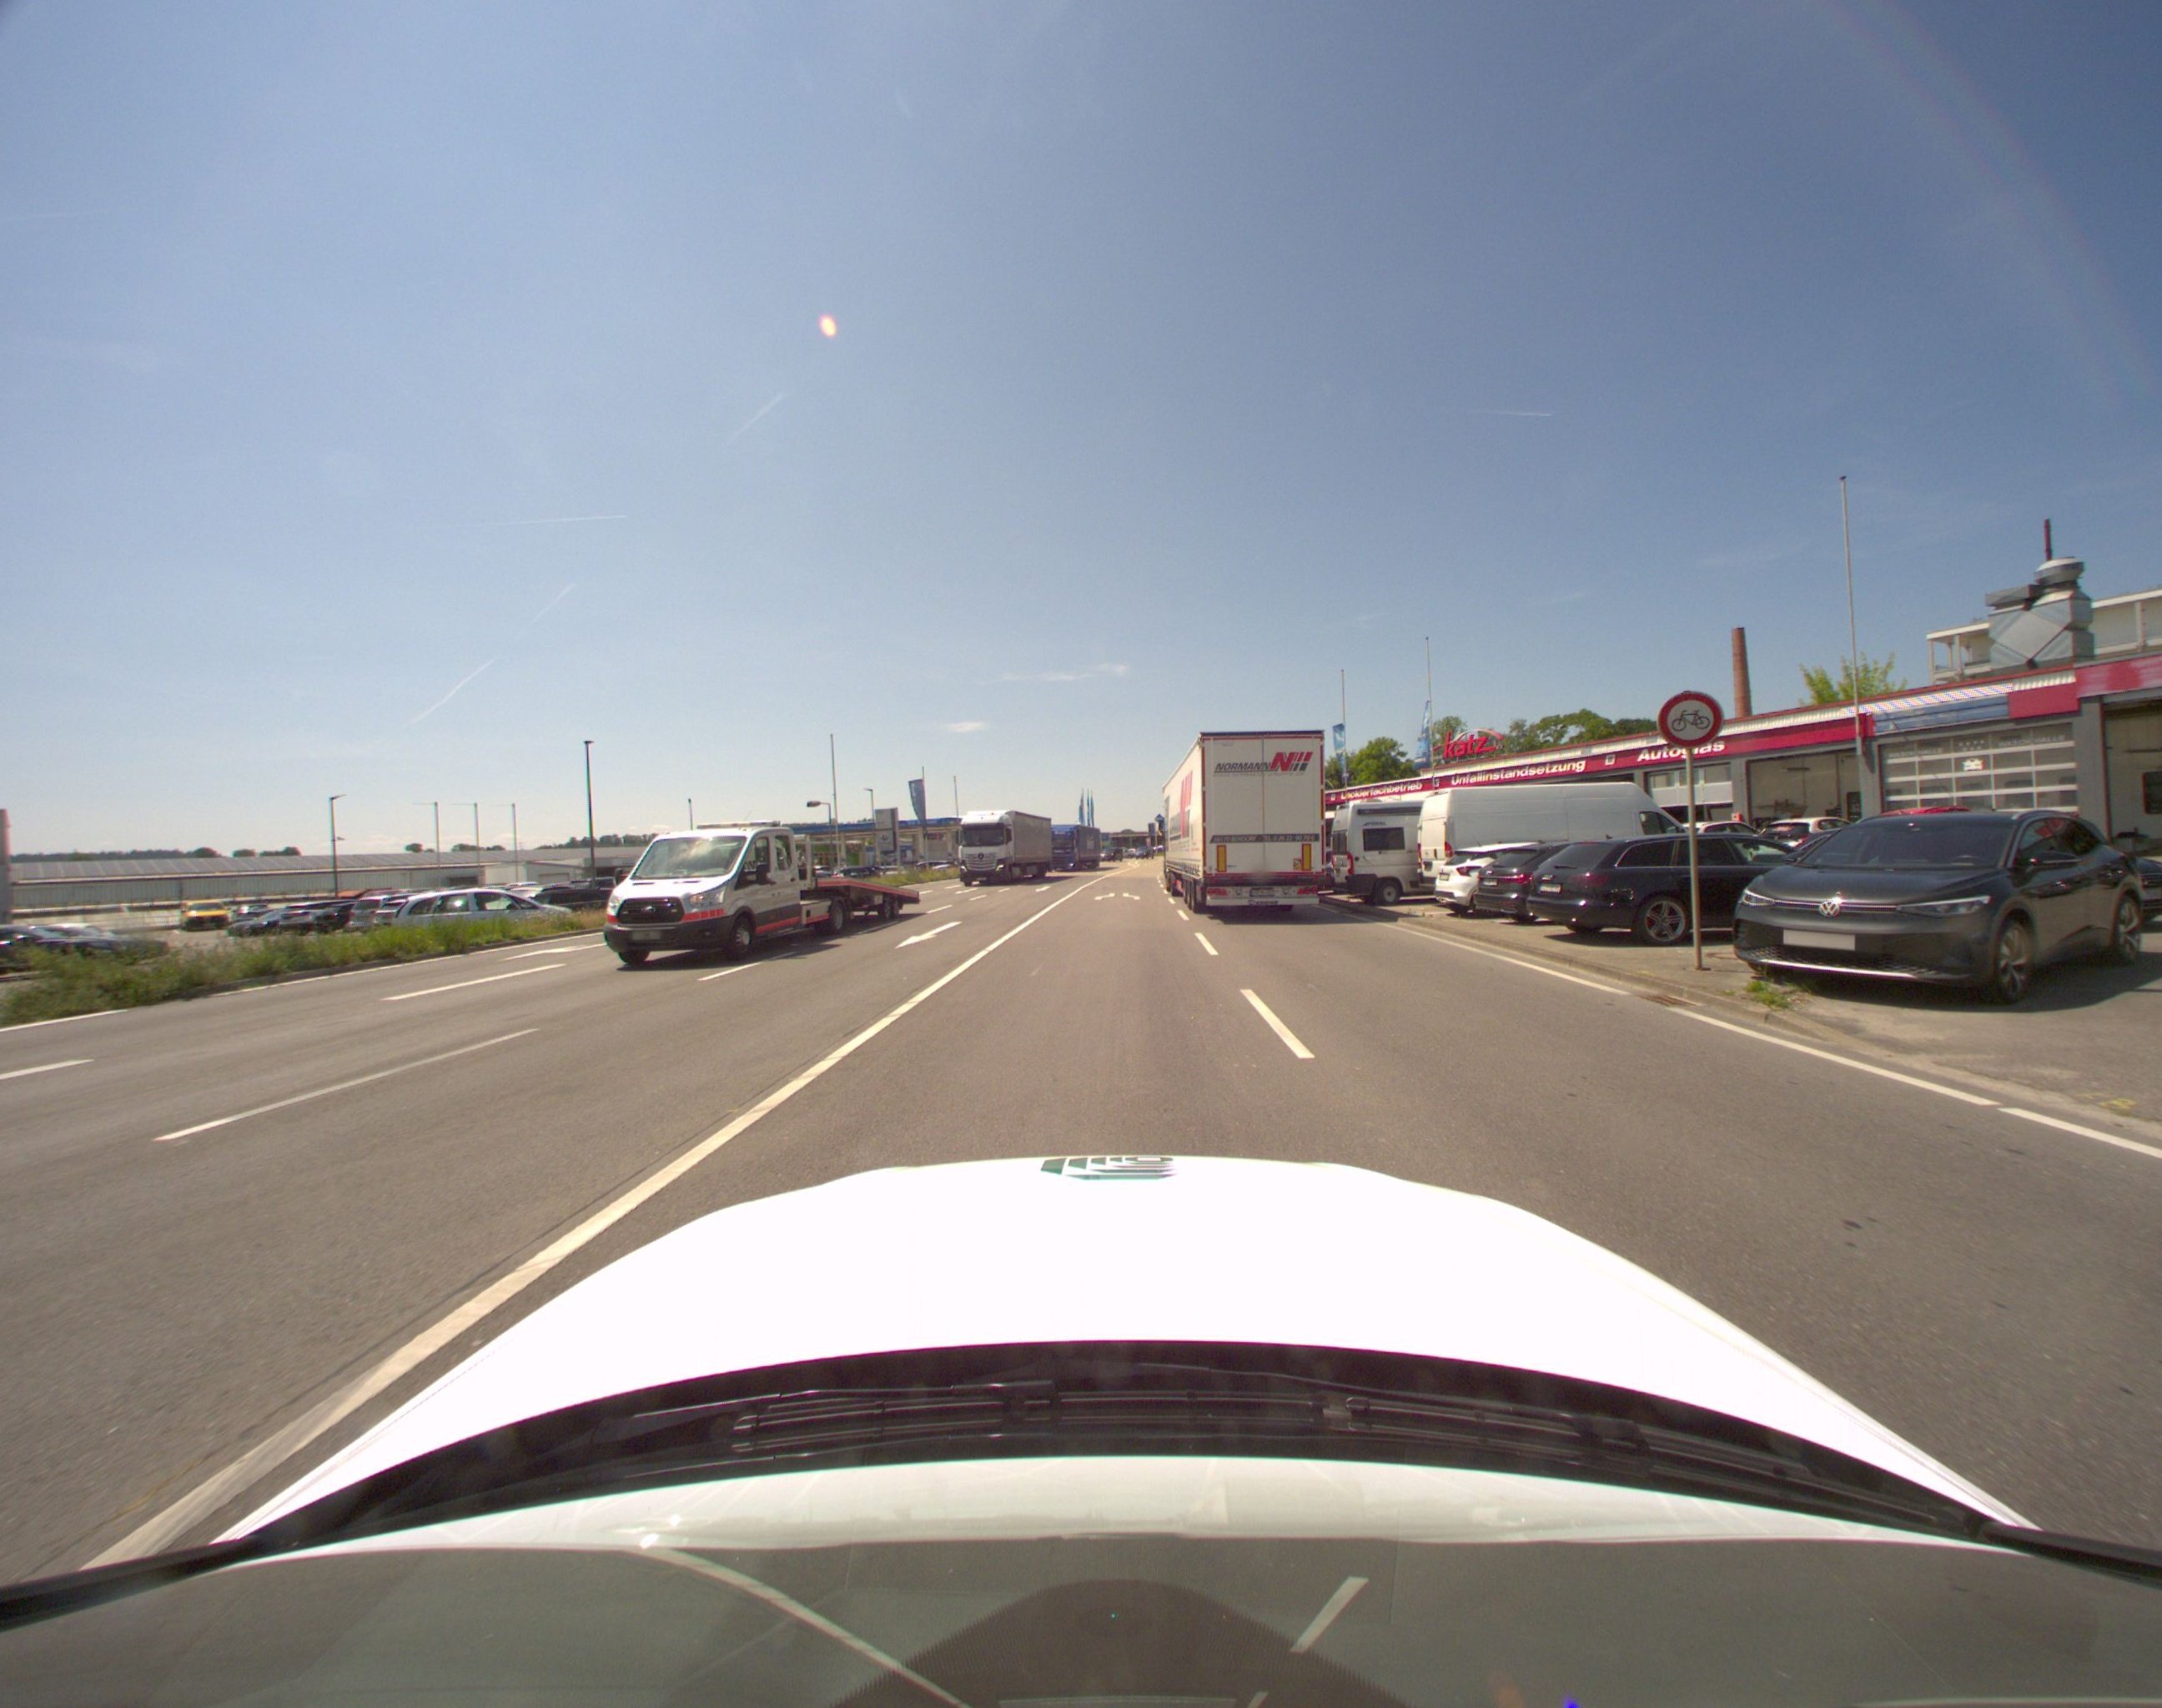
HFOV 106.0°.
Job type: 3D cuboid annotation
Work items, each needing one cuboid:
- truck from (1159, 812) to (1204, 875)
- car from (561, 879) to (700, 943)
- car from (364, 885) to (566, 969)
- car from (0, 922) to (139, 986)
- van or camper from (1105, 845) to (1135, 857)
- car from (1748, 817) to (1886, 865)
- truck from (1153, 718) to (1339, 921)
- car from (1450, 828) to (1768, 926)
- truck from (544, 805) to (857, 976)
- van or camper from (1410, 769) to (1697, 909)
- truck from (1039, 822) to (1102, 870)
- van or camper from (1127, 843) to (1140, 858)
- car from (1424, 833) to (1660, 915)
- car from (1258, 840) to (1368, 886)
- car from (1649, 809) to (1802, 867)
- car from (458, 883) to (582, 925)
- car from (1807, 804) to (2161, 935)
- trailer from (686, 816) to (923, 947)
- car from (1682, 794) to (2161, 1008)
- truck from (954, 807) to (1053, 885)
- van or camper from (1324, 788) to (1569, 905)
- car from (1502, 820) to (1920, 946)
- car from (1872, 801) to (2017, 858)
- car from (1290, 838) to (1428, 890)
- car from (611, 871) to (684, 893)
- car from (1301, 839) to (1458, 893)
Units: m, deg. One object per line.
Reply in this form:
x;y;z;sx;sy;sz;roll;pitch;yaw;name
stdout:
7.016;-0.667;57.952;2.634;3.806;13.382;-3;0;6;truck
-14.928;1.840;27.221;3.876;1.750;1.785;-3;0;-26;car
-15.832;1.801;21.231;3.879;1.750;1.857;-3;0;-29;car
-29.314;2.817;22.525;4.022;1.462;1.877;-3;0;-42;car
6.663;-0.551;138.205;4.816;1.905;1.910;-1;-1;11;van or camper
22.533;-0.396;24.947;3.600;1.374;1.666;-1;0;-20;car
4.156;-0.701;25.485;2.961;4.093;17.646;-1;0;3;truck
9.215;0.384;14.516;4.311;1.499;2.081;-2;0;0;car
-6.395;0.527;14.788;2.413;2.340;5.684;-4;0;6;truck
10.913;-0.327;19.191;5.344;2.905;2.235;-2;0;4;van or camper
-0.681;-0.618;74.539;2.827;3.889;17.048;-1;0;9;truck
8.243;-0.545;126.848;1.828;2.138;5.350;-1;0;5;van or camper
9.365;0.400;16.823;3.790;1.499;1.857;-2;0;5;car
9.805;0.385;34.594;4.002;1.481;1.976;-6;-1;-3;car
21.620;-0.538;27.370;3.990;1.574;1.848;-5;0;-12;car
-23.365;2.044;34.177;1.986;1.464;4.460;-1;0;1;car
13.233;0.165;12.068;1.796;1.528;4.399;-3;0;14;car
-5.966;0.529;18.994;2.416;2.338;6.907;-4;0;6;trailer
8.565;0.329;8.303;4.347;1.624;2.045;-3;0;-25;car
-4.199;-0.354;49.369;2.776;3.889;16.508;-1;0;6;truck
9.535;-0.184;21.697;5.450;2.730;2.235;-2;0;4;van or camper
8.658;0.376;11.535;4.311;1.499;2.081;-2;0;0;car
23.554;-0.647;22.212;3.606;1.450;1.664;-1;0;-25;car
10.008;0.341;29.648;4.247;1.413;2.165;-6;-1;2;car
-30.363;1.939;57.175;4.174;1.309;1.691;-3;0;-14;car
9.746;0.385;26.853;4.494;1.518;1.784;-3;0;3;car
